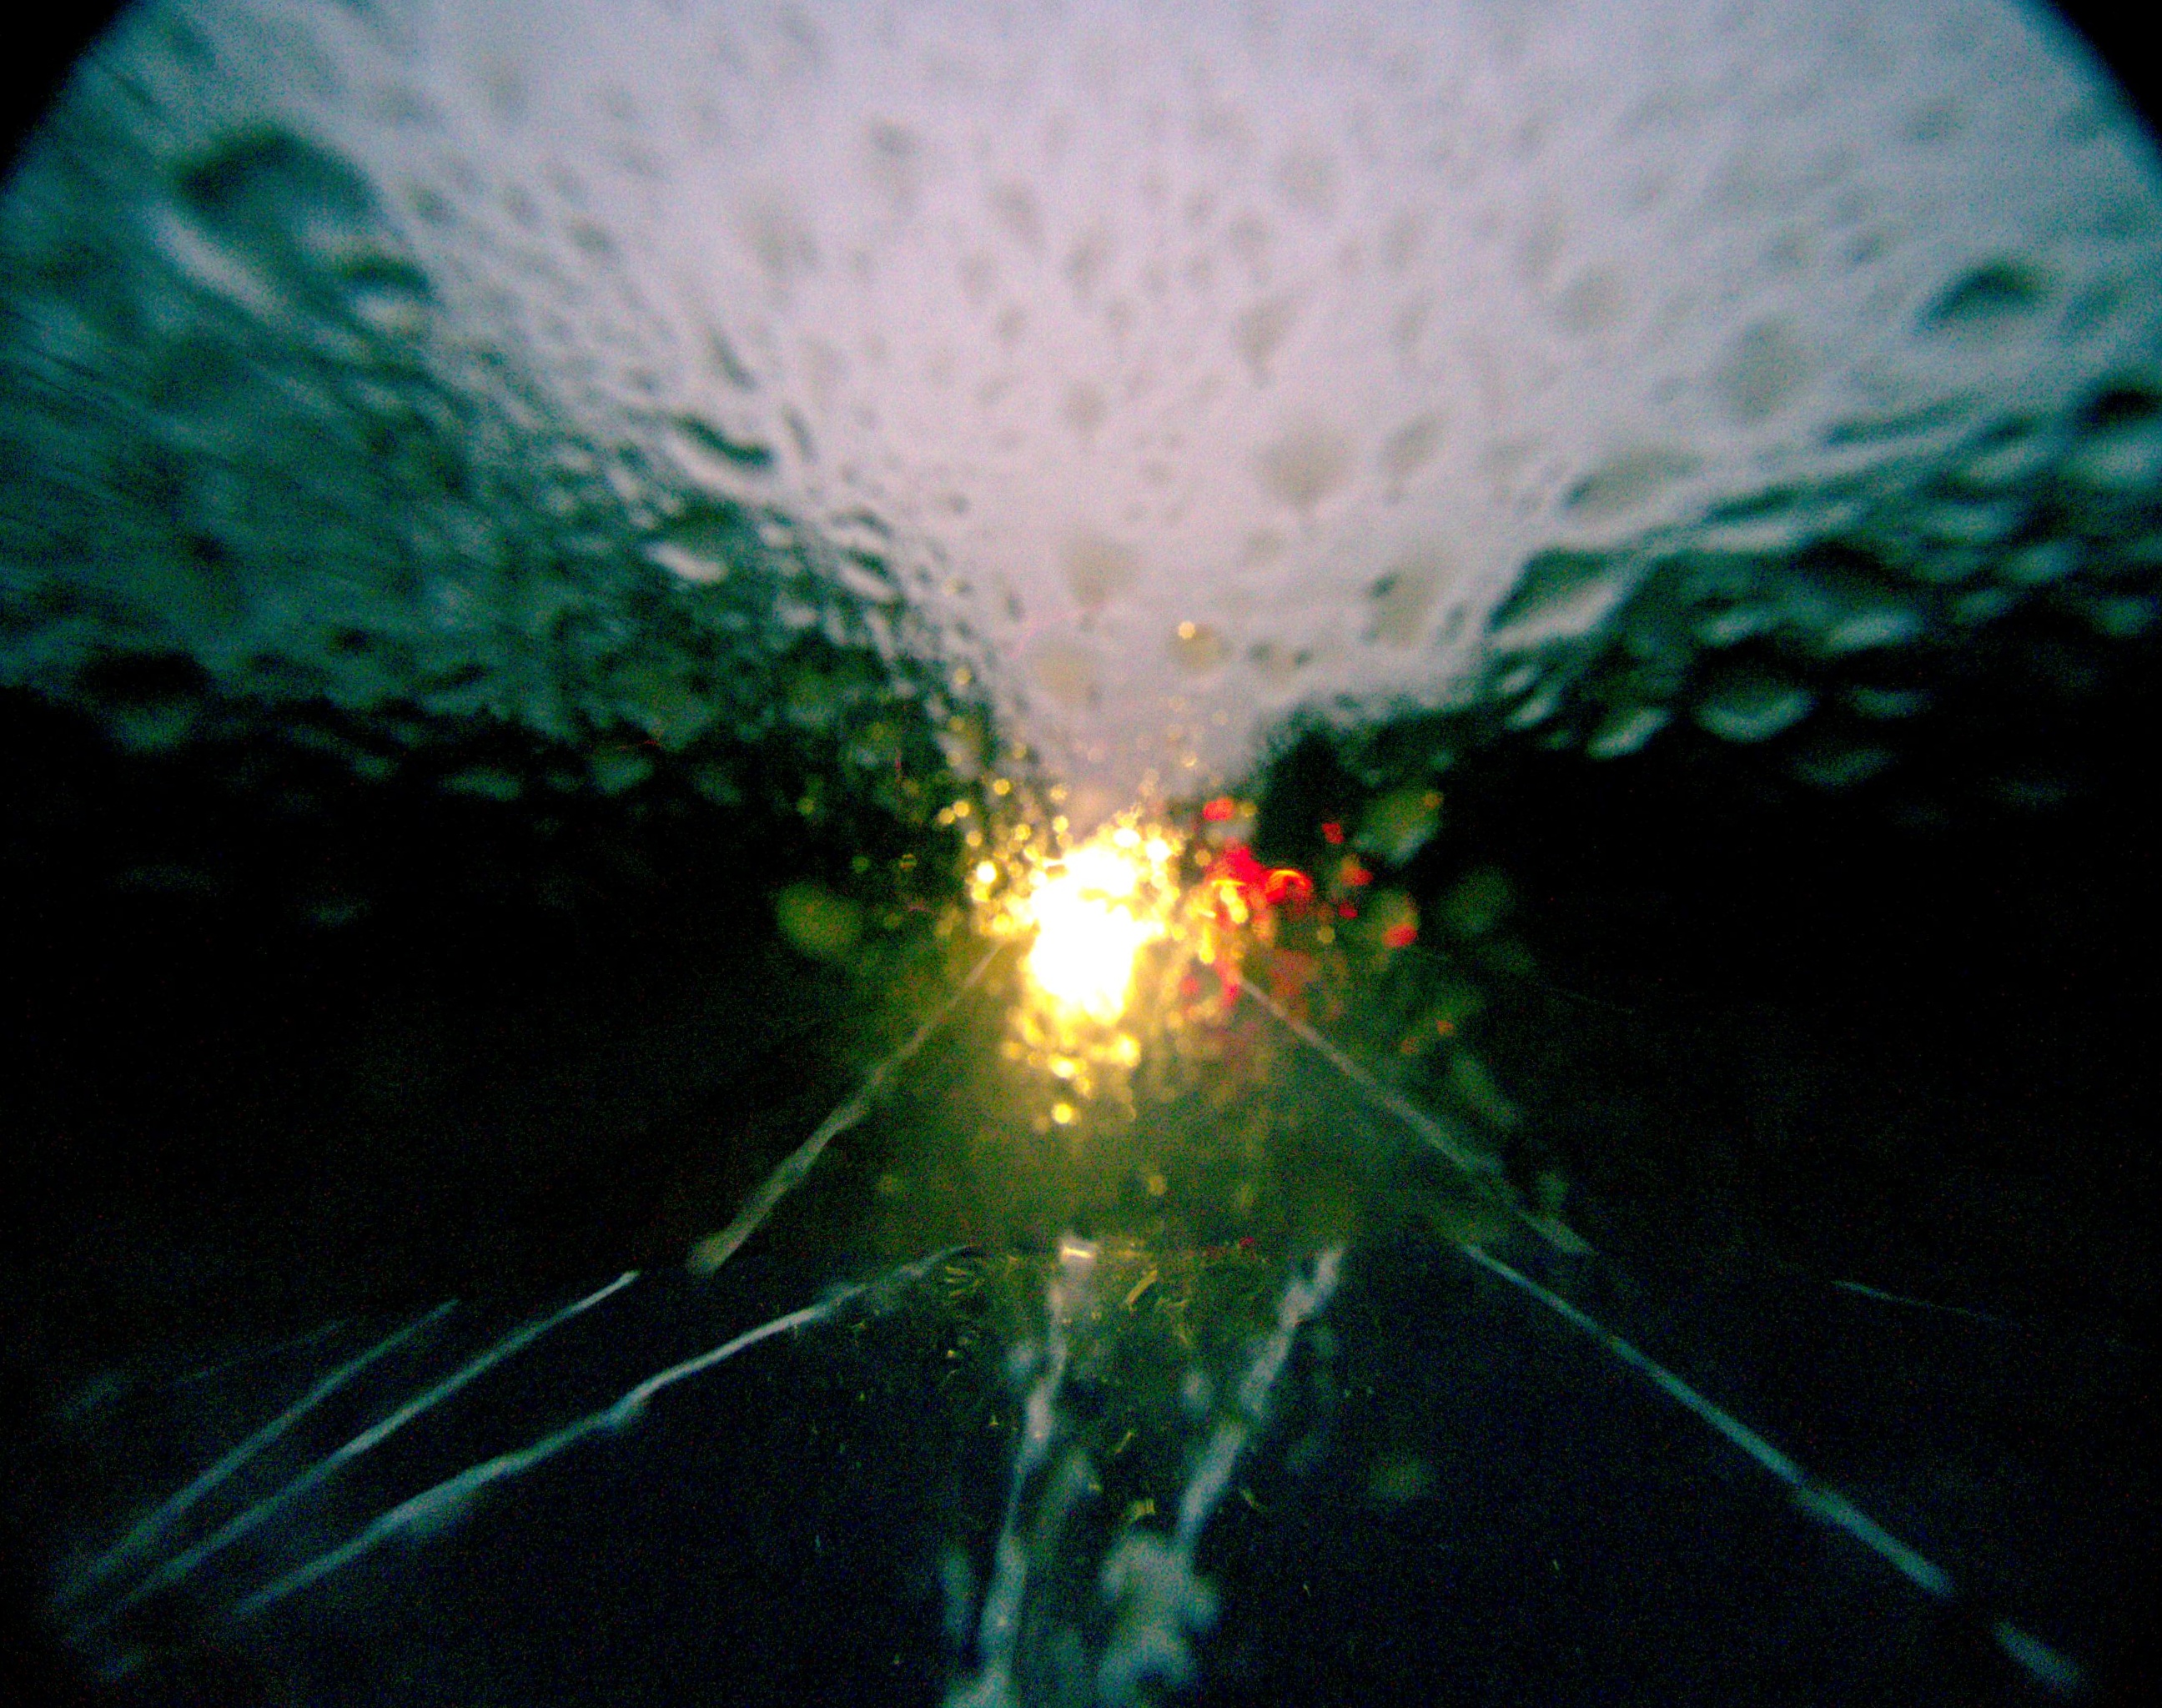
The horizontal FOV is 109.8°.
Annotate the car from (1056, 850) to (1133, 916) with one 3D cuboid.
[{"bbox_3d":[0.380,0.772,22.363,1.998,1.672,3.999,-3,0,0],"label":"car"}]

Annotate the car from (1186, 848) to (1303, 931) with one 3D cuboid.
[{"bbox_3d":[3.443,0.719,16.767,1.698,1.551,4.129,-3,-1,1],"label":"car"}]

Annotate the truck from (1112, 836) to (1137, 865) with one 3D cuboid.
[{"bbox_3d":[4.356,-0.319,77.528,2.108,2.755,6.871,-3,0,1],"label":"truck"}]

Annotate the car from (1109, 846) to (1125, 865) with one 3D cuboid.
[{"bbox_3d":[5.395,0.198,114.249,2.079,2.794,6.652,-2,0,0],"label":"car"}]
